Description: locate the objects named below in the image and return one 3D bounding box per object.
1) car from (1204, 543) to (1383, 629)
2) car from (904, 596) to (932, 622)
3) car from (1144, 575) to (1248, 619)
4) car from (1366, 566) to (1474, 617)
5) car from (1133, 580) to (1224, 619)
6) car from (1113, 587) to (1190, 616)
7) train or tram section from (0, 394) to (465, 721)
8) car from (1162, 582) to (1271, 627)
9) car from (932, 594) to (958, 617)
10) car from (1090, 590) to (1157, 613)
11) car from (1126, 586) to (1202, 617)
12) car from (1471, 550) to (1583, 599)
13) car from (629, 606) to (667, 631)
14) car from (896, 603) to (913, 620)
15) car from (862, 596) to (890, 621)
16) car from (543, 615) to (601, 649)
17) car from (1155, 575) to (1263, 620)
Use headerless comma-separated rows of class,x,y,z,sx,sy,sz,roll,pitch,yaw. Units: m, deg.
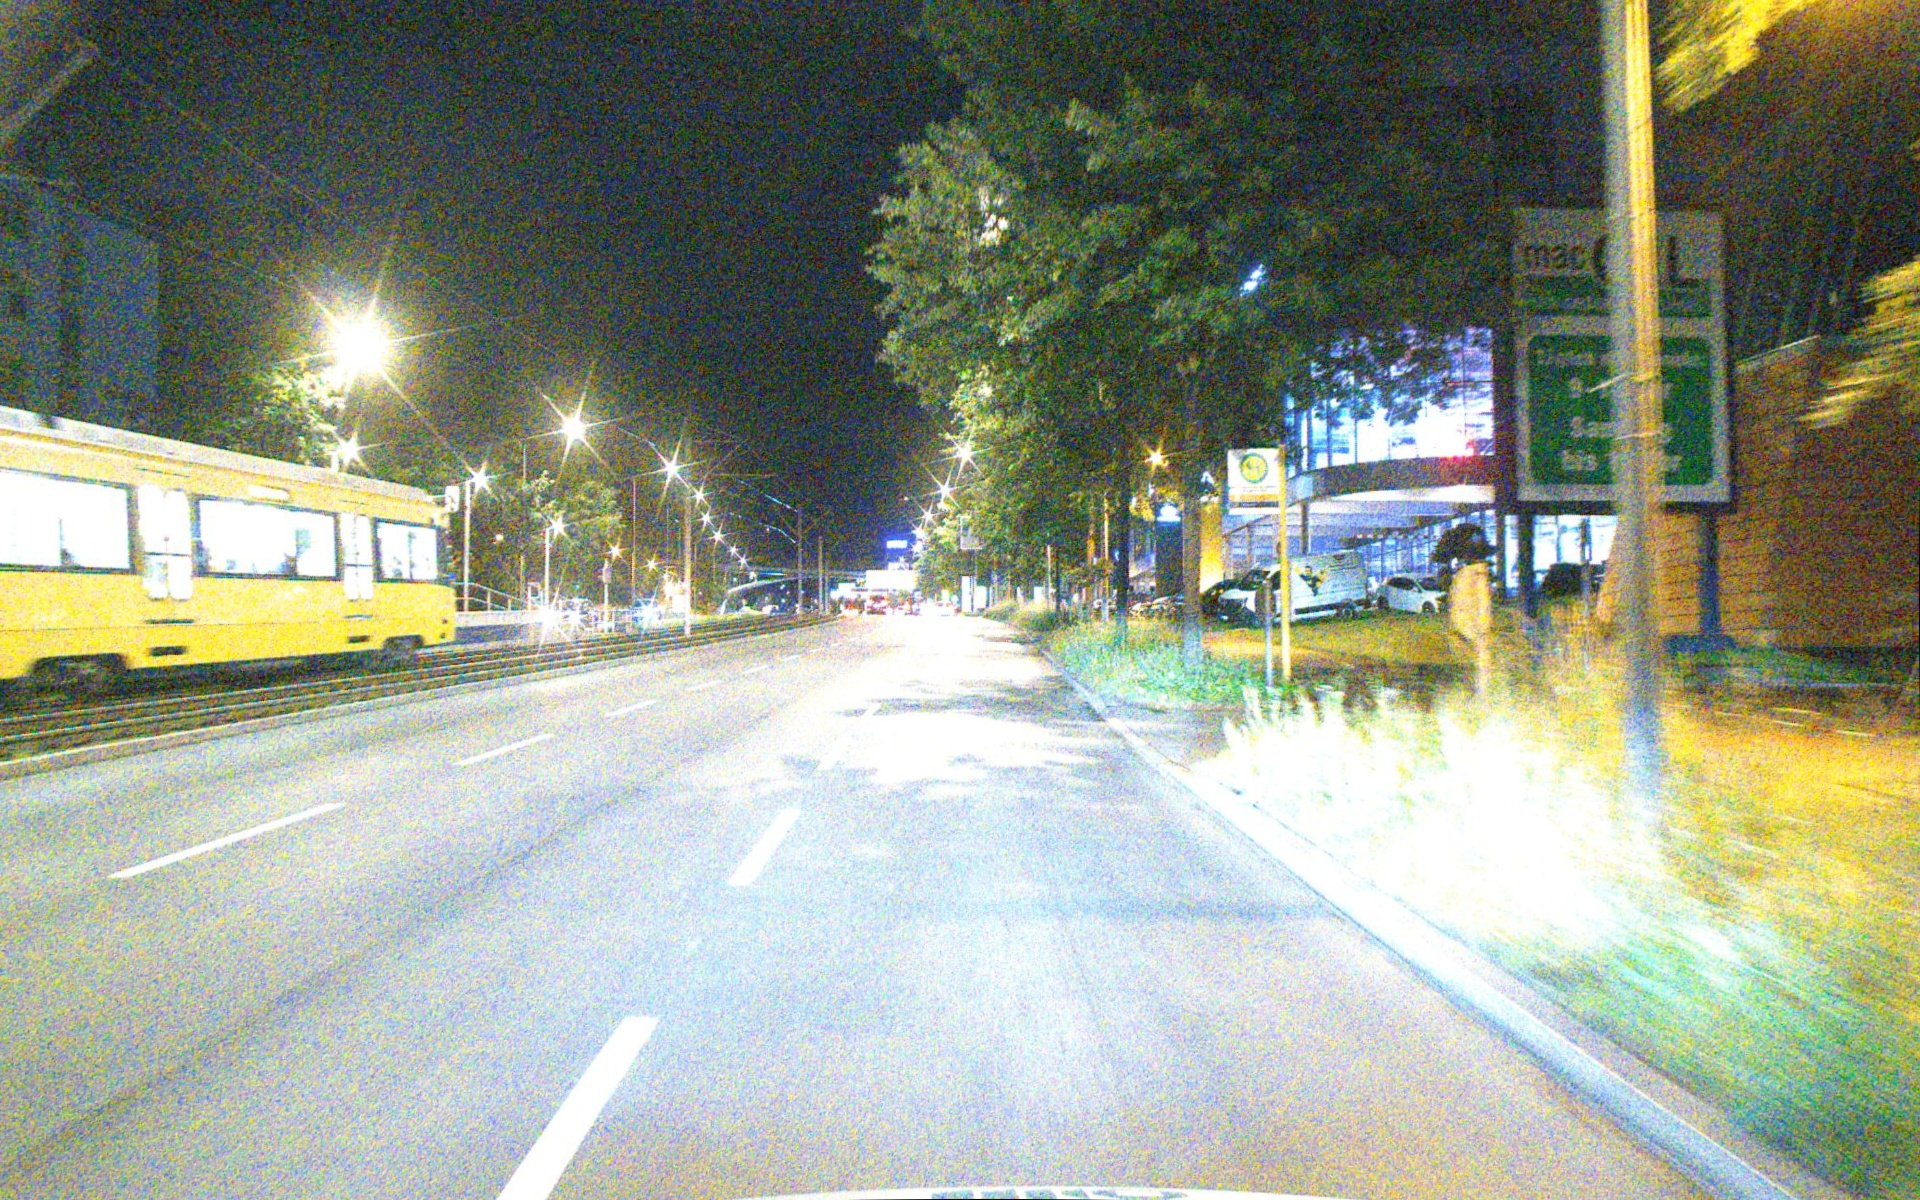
car,12.223,-0.513,60.657,5.924,2.572,2.273,-6,1,-17
car,-3.576,0.745,141.053,2.308,2.166,4.825,0,-1,-1
car,11.171,-0.139,78.331,4.382,1.716,1.995,-5,1,-11
car,17.021,-0.299,61.418,1.781,1.742,3.940,-3,0,-22
car,10.728,-0.022,81.353,4.009,1.595,1.850,-5,1,-11
car,11.003,0.081,95.099,3.959,1.397,1.817,-4,1,-17
train or tram section,-12.634,-0.502,27.892,2.702,3.894,18.672,0,0,1
car,10.894,0.197,70.485,4.128,1.692,1.956,-3,0,-11
car,-1.411,0.515,154.633,2.378,2.150,4.825,0,-1,-1
car,10.738,0.066,108.663,3.925,1.448,1.899,0,1,-18
car,11.077,0.086,89.885,3.738,1.478,1.711,-3,0,-15
car,21.402,-0.939,62.611,1.770,1.604,3.940,-6,1,-22
car,-20.144,1.181,106.860,1.626,1.543,3.911,0,-1,1
car,-6.178,1.275,183.749,1.848,1.892,3.999,0,-1,-1
car,-7.015,0.752,138.543,2.216,2.049,4.825,0,-1,-1
car,-17.816,1.483,76.065,1.748,1.523,4.173,0,-1,-1
car,11.348,-0.125,75.473,4.381,1.841,1.995,-3,0,-11
